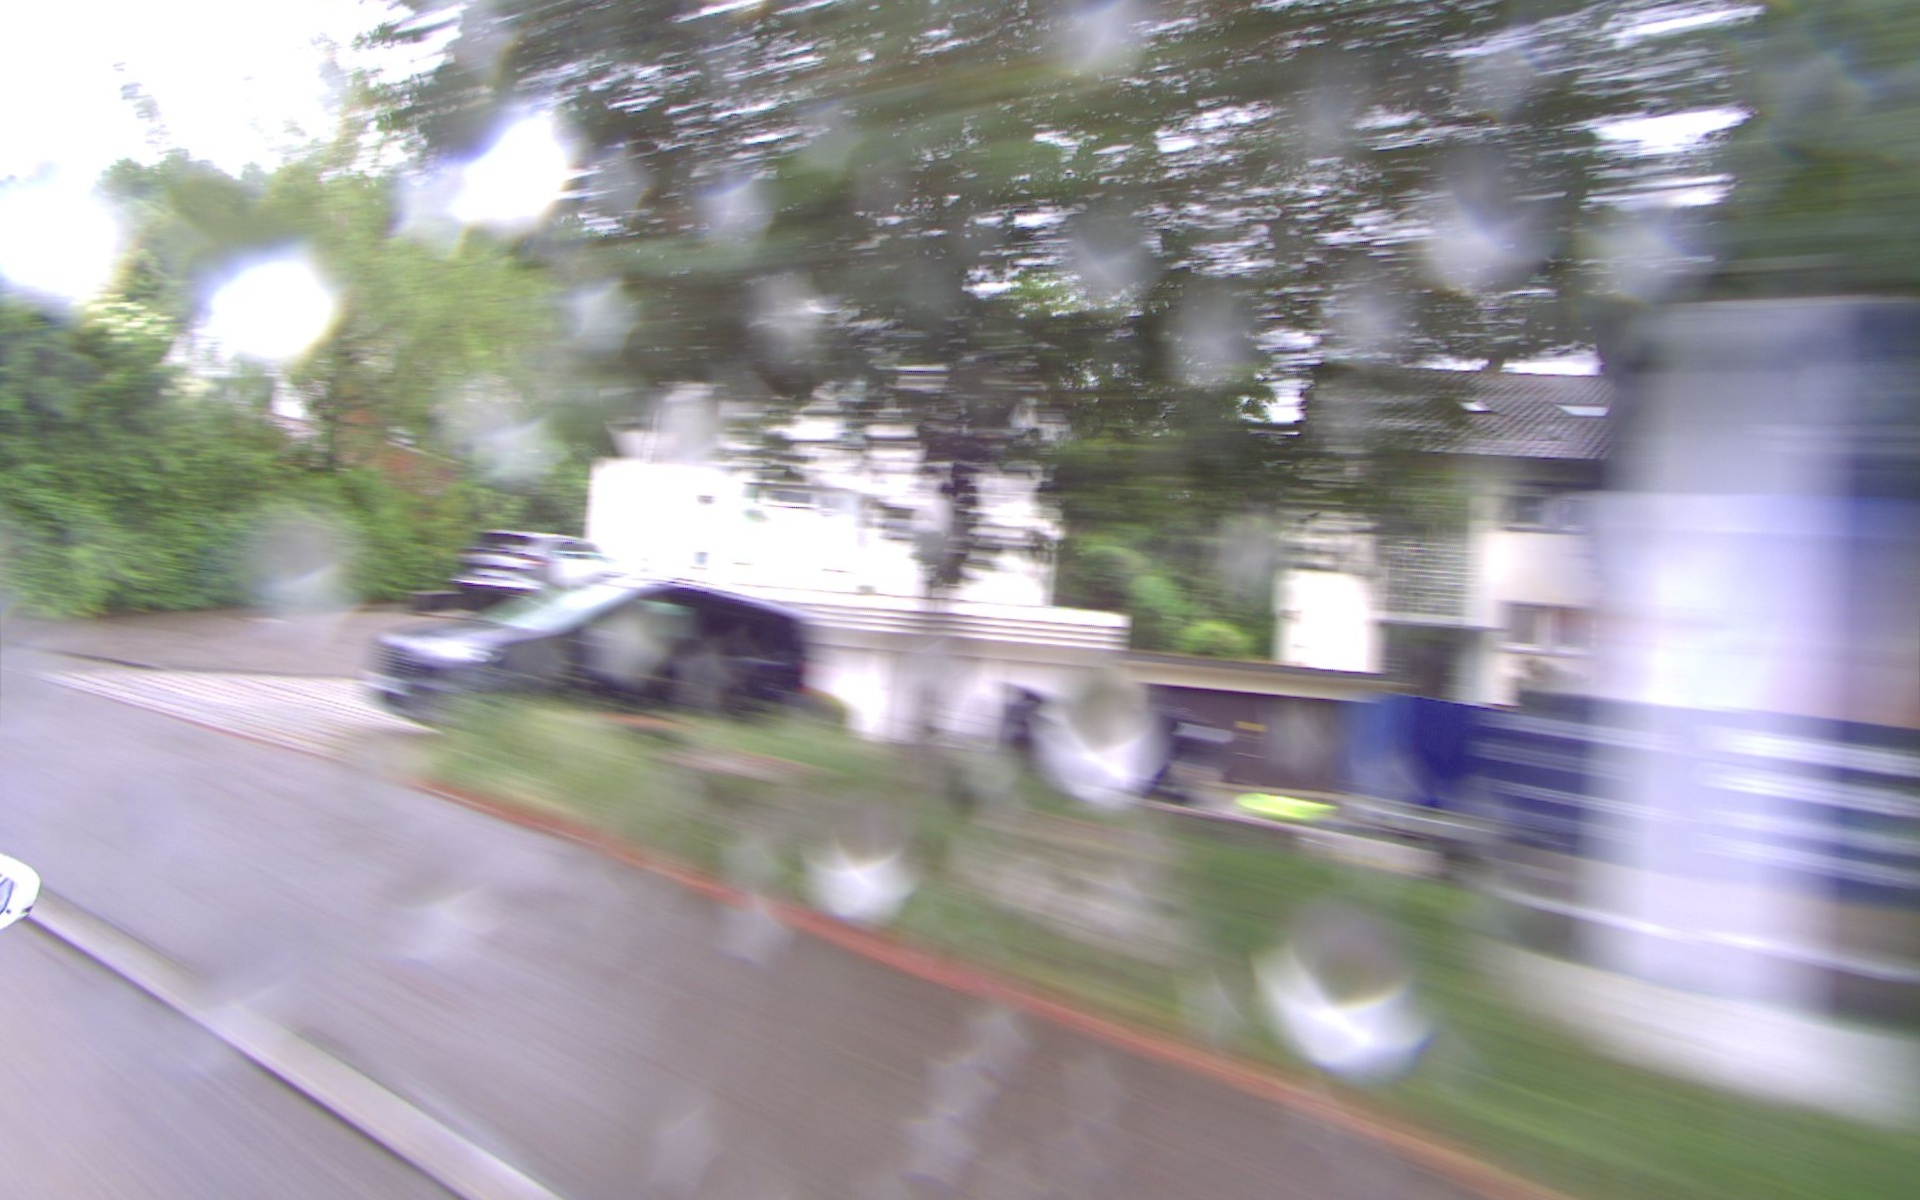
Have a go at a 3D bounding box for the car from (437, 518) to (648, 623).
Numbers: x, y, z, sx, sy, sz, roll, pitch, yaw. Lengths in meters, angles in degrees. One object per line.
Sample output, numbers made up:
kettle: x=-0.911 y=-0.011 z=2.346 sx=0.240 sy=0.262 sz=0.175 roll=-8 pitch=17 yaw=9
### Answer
car: x=-7.957 y=-0.483 z=19.678 sx=1.695 sy=1.653 sz=4.281 roll=5 pitch=-1 yaw=9

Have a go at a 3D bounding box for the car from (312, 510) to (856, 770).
car: x=-3.277 y=0.518 z=9.483 sx=1.707 sy=1.733 sz=4.328 roll=3 pitch=-7 yaw=44

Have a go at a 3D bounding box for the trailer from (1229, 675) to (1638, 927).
trailer: x=4.665 y=1.936 z=10.353 sx=3.220 sy=1.842 sz=1.768 roll=8 pitch=-3 yaw=7
